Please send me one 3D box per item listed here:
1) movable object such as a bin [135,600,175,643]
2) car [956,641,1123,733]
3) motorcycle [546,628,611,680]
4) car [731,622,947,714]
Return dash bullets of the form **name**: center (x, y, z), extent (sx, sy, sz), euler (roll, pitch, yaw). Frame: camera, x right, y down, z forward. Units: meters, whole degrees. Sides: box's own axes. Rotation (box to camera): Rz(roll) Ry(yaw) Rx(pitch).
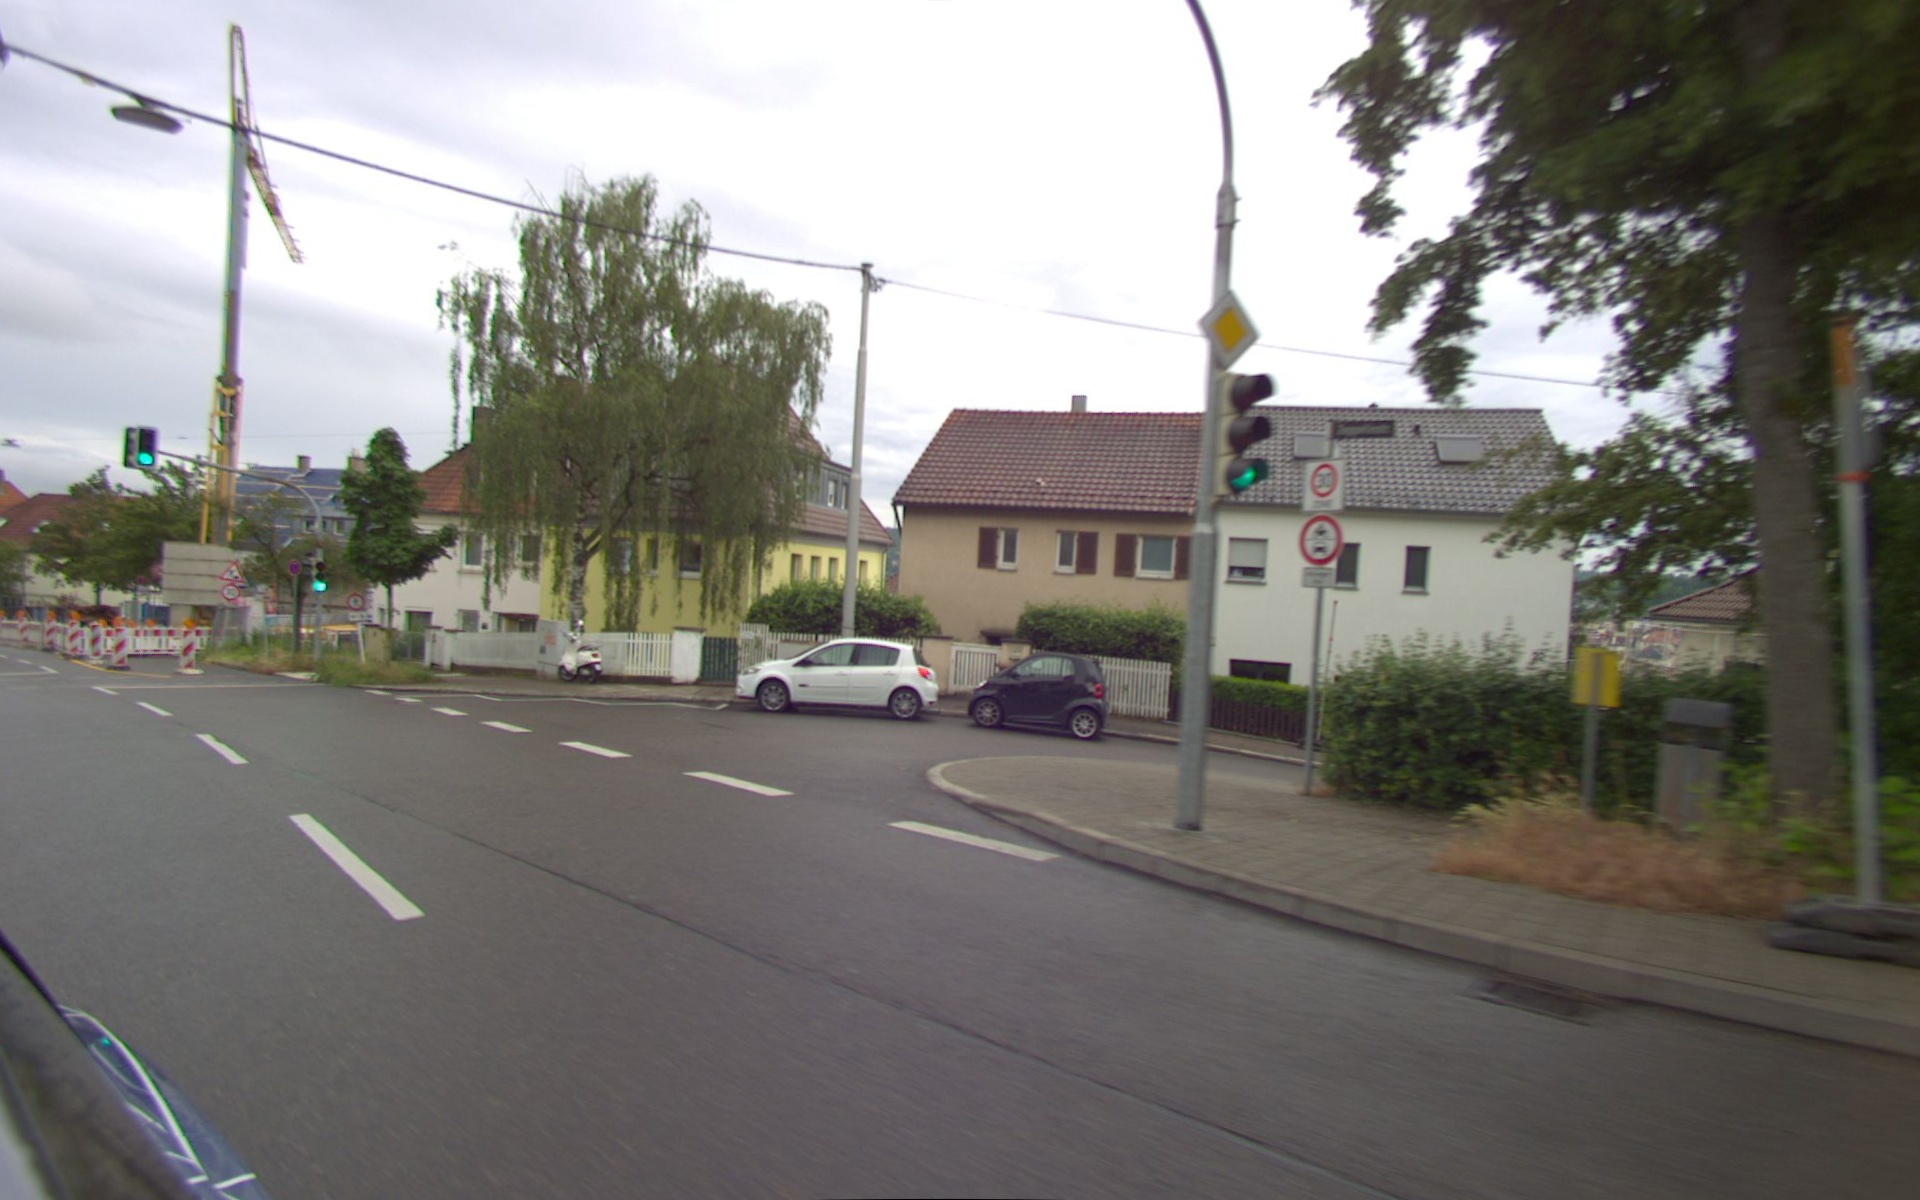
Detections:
- **movable object such as a bin**: center (-47.563, 1.285, 59.807), extent (1.376, 2.525, 1.308), euler (0, -2, 20)
- **car**: center (1.561, 1.629, 19.425), extent (2.893, 1.441, 1.557), euler (4, -2, 16)
- **motorcycle**: center (-8.766, 1.220, 23.225), extent (1.842, 1.139, 0.584), euler (0, -2, 42)
- **car**: center (-2.296, 1.313, 19.936), extent (3.957, 1.520, 1.688), euler (3, -3, 2)
